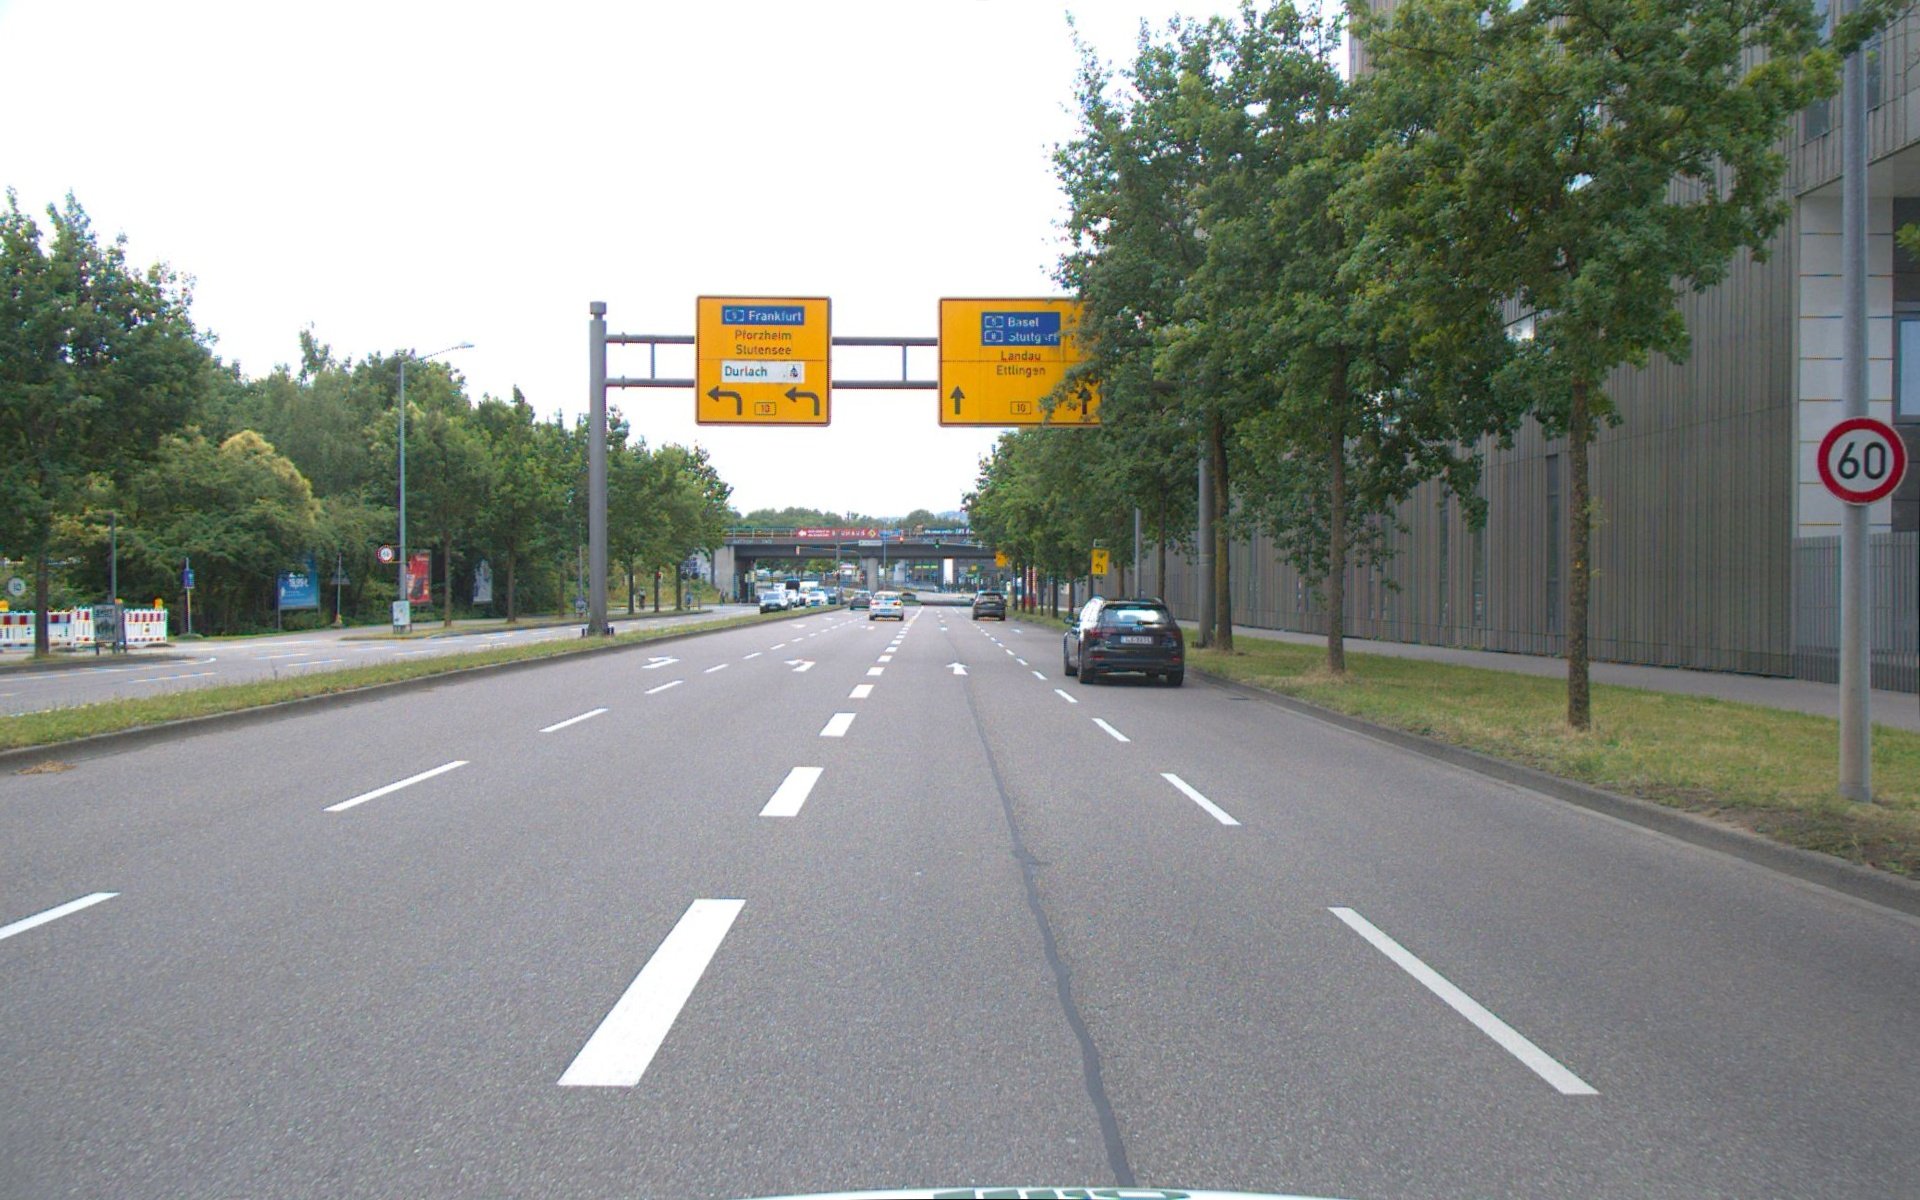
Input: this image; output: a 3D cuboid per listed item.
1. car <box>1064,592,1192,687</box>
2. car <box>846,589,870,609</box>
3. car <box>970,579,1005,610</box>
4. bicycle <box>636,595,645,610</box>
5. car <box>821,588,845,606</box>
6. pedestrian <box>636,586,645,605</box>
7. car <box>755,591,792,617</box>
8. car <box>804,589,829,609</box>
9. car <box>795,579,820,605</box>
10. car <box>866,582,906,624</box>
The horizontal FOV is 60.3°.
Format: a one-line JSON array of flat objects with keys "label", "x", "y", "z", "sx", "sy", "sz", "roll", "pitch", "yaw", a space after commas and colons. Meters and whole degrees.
[{"label": "car", "x": 2.846, "y": 0.629, "z": 28.702, "sx": 1.650, "sy": 1.489, "sz": 3.998, "roll": 1, "pitch": 0, "yaw": -2}, {"label": "car", "x": -7.686, "y": -0.089, "z": 124.624, "sx": 1.739, "sy": 1.489, "sz": 3.997, "roll": 1, "pitch": 0, "yaw": -4}, {"label": "car", "x": 1.562, "y": -0.320, "z": 95.118, "sx": 1.952, "sy": 1.654, "sz": 4.310, "roll": -1, "pitch": 1, "yaw": 1}, {"label": "bicycle", "x": -24.769, "y": 0.205, "z": 128.225, "sx": 0.450, "sy": 1.109, "sz": 1.473, "roll": 1, "pitch": -1, "yaw": -2}, {"label": "car", "x": -12.910, "y": -0.293, "z": 168.335, "sx": 1.952, "sy": 1.747, "sz": 4.001, "roll": 1, "pitch": -1, "yaw": 2}, {"label": "pedestrian", "x": -24.763, "y": -0.348, "z": 128.276, "sx": 0.547, "sy": 1.425, "sz": 0.563, "roll": 1, "pitch": -1, "yaw": -2}, {"label": "car", "x": -12.273, "y": 0.254, "z": 108.799, "sx": 1.953, "sy": 1.646, "sz": 4.000, "roll": 0, "pitch": 0, "yaw": 0}, {"label": "car", "x": -13.038, "y": -0.110, "z": 150.460, "sx": 1.953, "sy": 1.747, "sz": 3.999, "roll": 1, "pitch": -1, "yaw": -1}, {"label": "car", "x": -16.221, "y": -0.812, "z": 176.448, "sx": 1.952, "sy": 2.686, "sz": 5.237, "roll": 1, "pitch": -1, "yaw": 2}, {"label": "car", "x": -3.828, "y": 0.133, "z": 85.463, "sx": 1.954, "sy": 2.049, "sz": 3.997, "roll": 1, "pitch": 0, "yaw": -4}]
